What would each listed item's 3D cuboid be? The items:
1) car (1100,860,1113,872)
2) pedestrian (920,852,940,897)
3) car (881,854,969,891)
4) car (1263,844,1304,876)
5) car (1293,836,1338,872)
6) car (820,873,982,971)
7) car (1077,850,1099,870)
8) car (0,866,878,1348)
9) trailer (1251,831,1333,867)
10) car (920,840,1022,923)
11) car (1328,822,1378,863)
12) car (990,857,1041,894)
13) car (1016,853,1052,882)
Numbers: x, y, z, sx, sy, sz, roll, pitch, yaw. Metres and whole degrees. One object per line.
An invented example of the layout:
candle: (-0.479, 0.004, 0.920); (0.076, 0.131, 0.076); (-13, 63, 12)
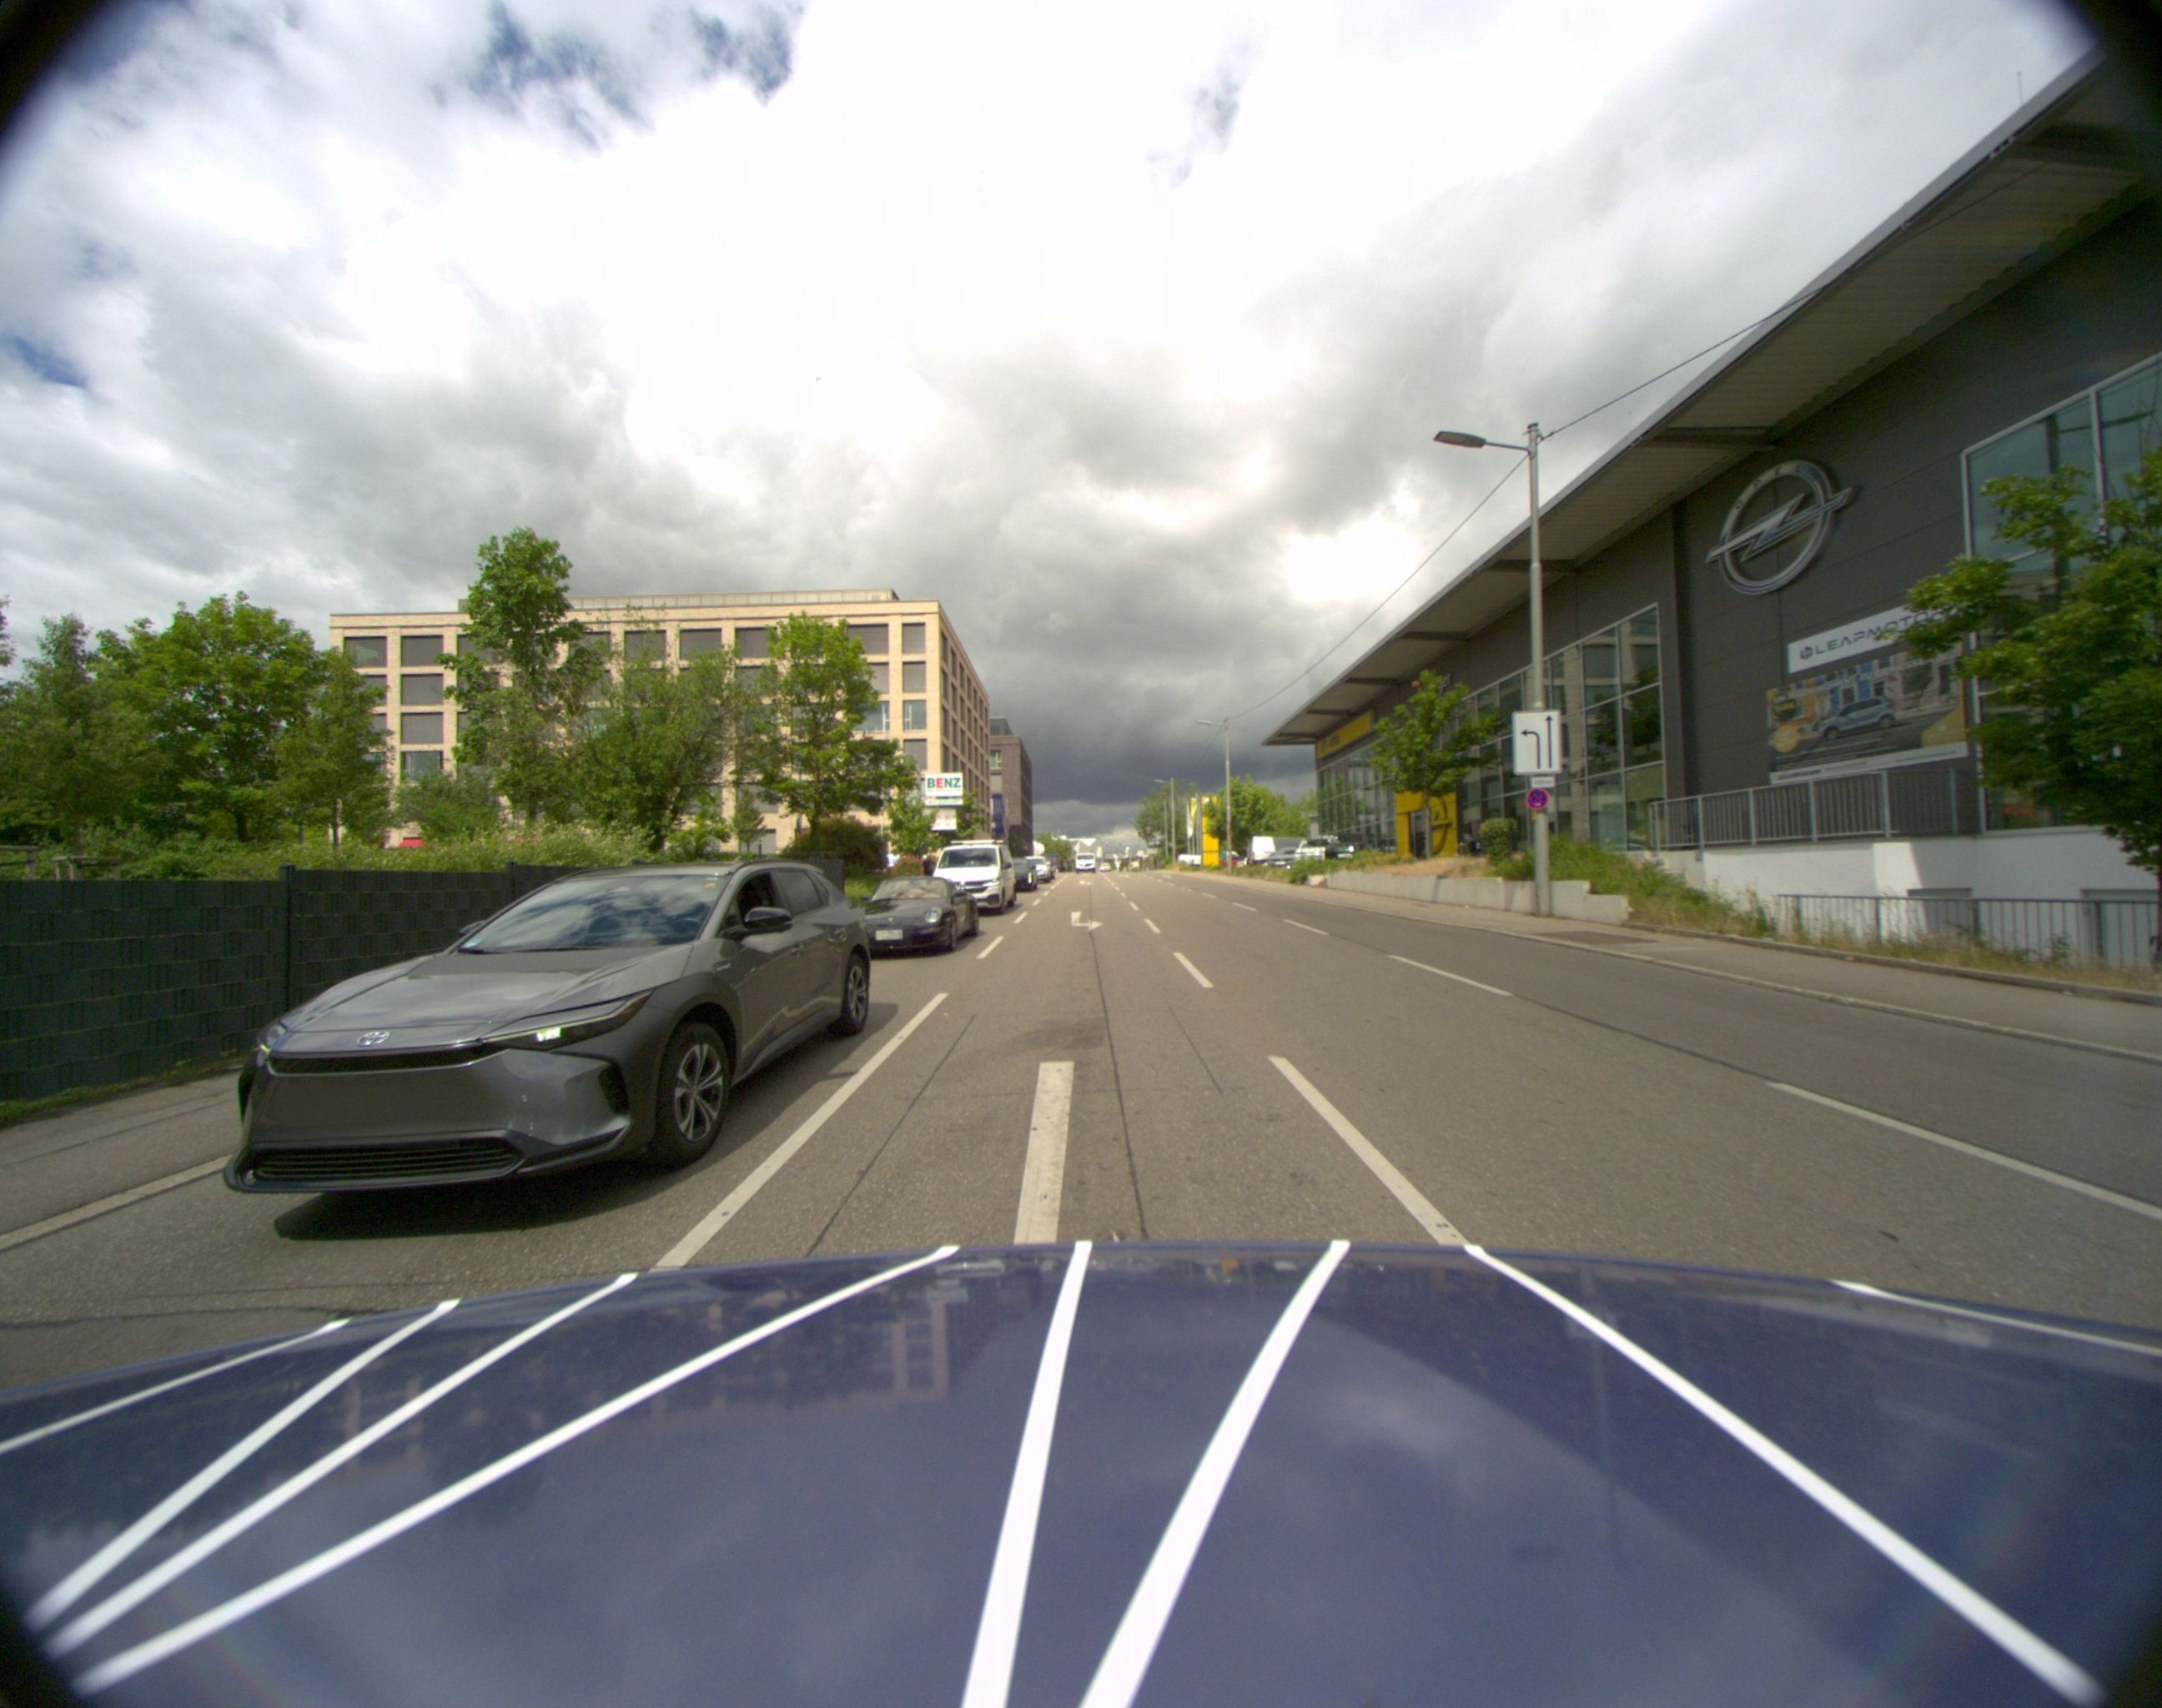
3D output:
car: (4.164, 1.979, 122.972); (1.998, 1.731, 4.546); (-1, 1, 1)
pedestrian: (-5.868, 0.798, 29.521); (0.602, 1.710, 0.553); (-1, 1, 1)
car: (-7.648, 0.904, 37.585); (3.998, 1.723, 1.822); (-1, 1, -3)
car: (12.040, 0.345, 44.995); (1.995, 1.783, 4.006); (-1, 1, 20)
car: (12.229, -0.002, 39.511); (1.995, 1.783, 4.006); (0, 1, 20)
car: (-2.990, 1.081, 13.519); (1.824, 1.286, 4.038); (-2, 1, 1)
car: (0.714, 0.606, 74.467); (1.998, 1.819, 4.547); (-1, 1, 2)
car: (-2.987, 0.966, 5.072); (1.998, 1.620, 4.580); (-1, 1, 0)
trailer: (14.406, -0.349, 52.051); (5.074, 2.336, 1.999); (-1, 1, -1)
car: (-2.984, 0.684, 21.766); (2.089, 2.037, 4.760); (-2, 1, 1)
car: (12.351, -0.515, 34.681); (1.996, 1.718, 4.005); (0, 1, 18)
car: (-2.836, 0.902, 33.670); (1.818, 1.454, 4.000); (-1, 1, 1)
car: (-2.696, 0.748, 44.438); (1.818, 1.577, 4.000); (-1, 1, 1)
